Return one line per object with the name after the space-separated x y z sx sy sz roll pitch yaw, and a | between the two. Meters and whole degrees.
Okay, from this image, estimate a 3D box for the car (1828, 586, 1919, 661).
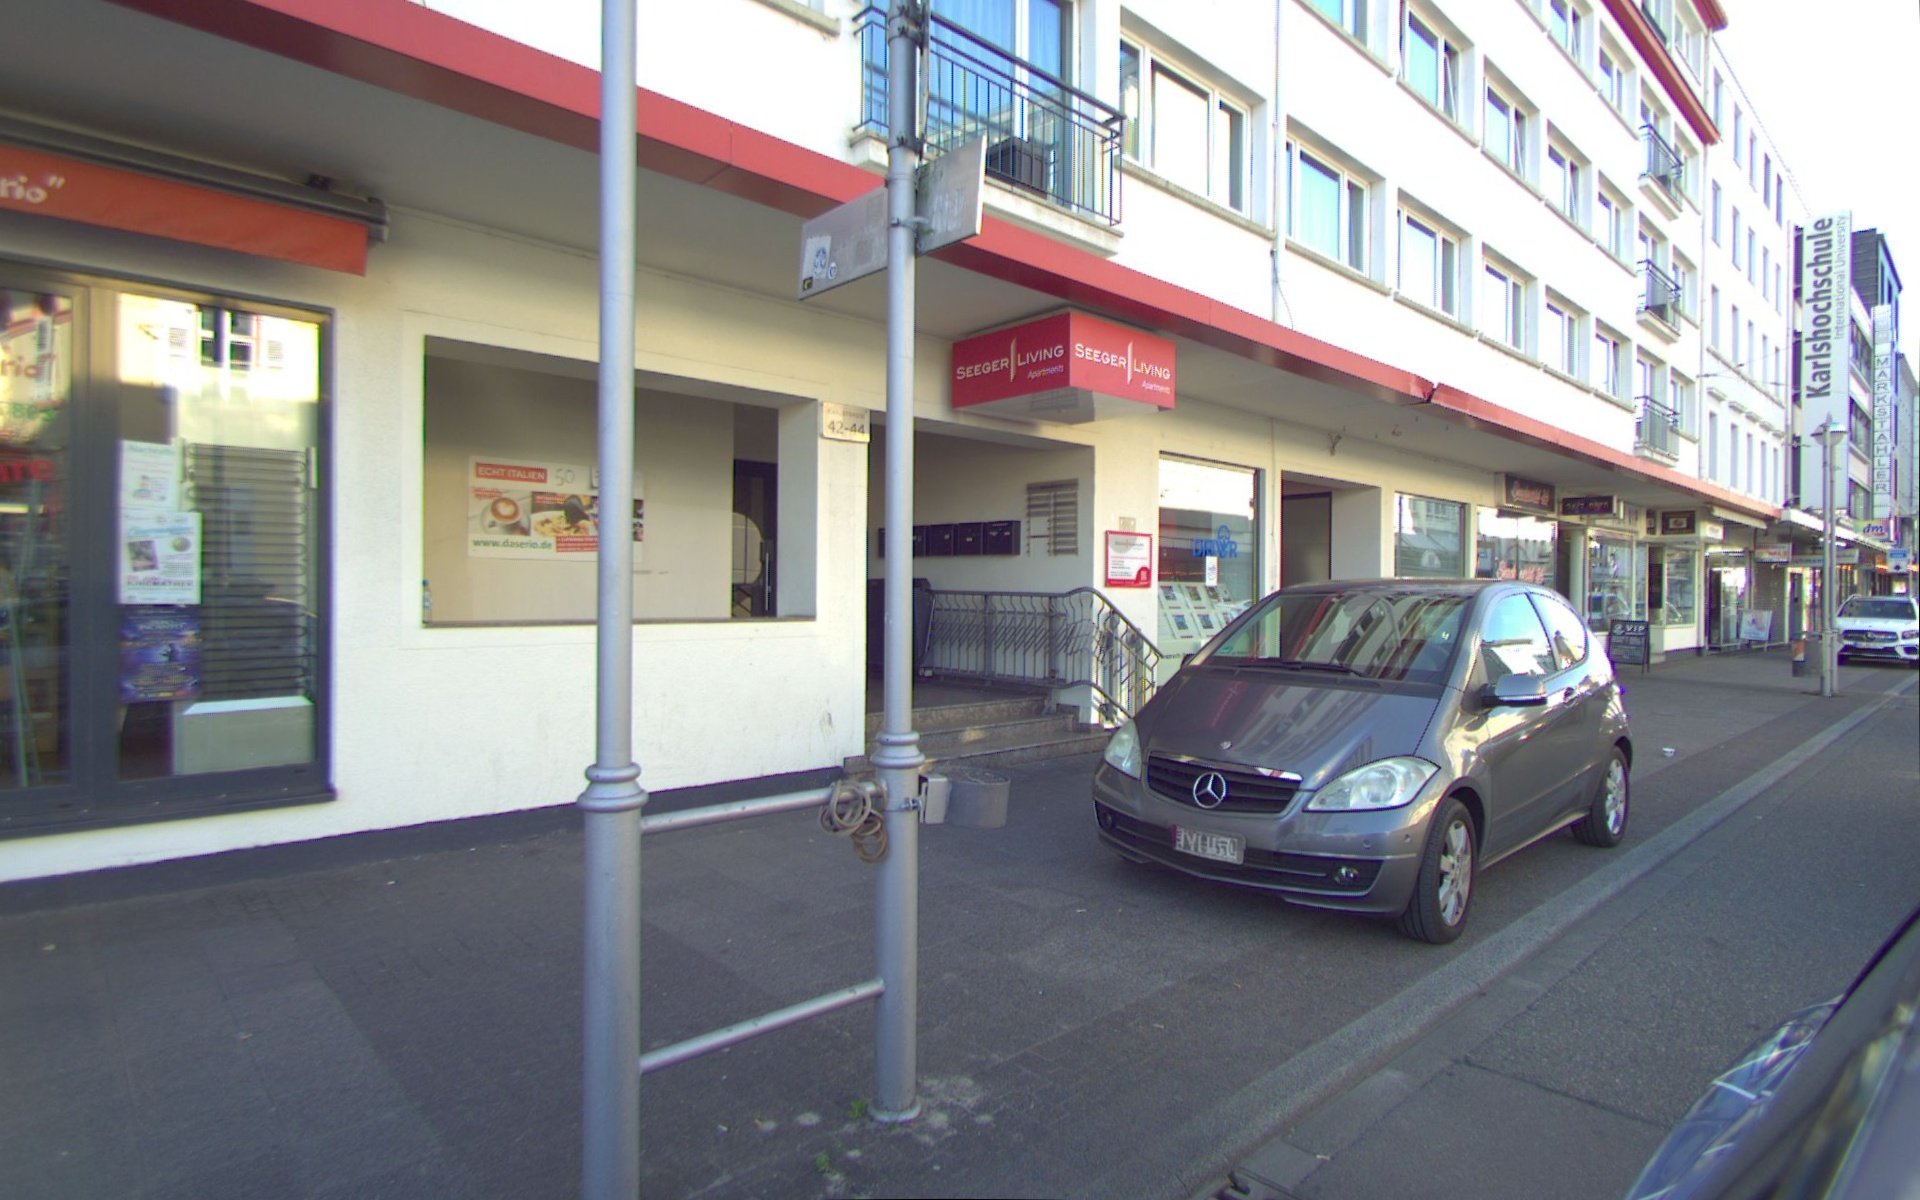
22.388 0.515 24.347 1.994 1.650 3.935 1 1 45 | car

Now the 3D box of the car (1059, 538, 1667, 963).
2.488 0.556 5.704 3.932 1.565 1.681 0 0 -43 | car
